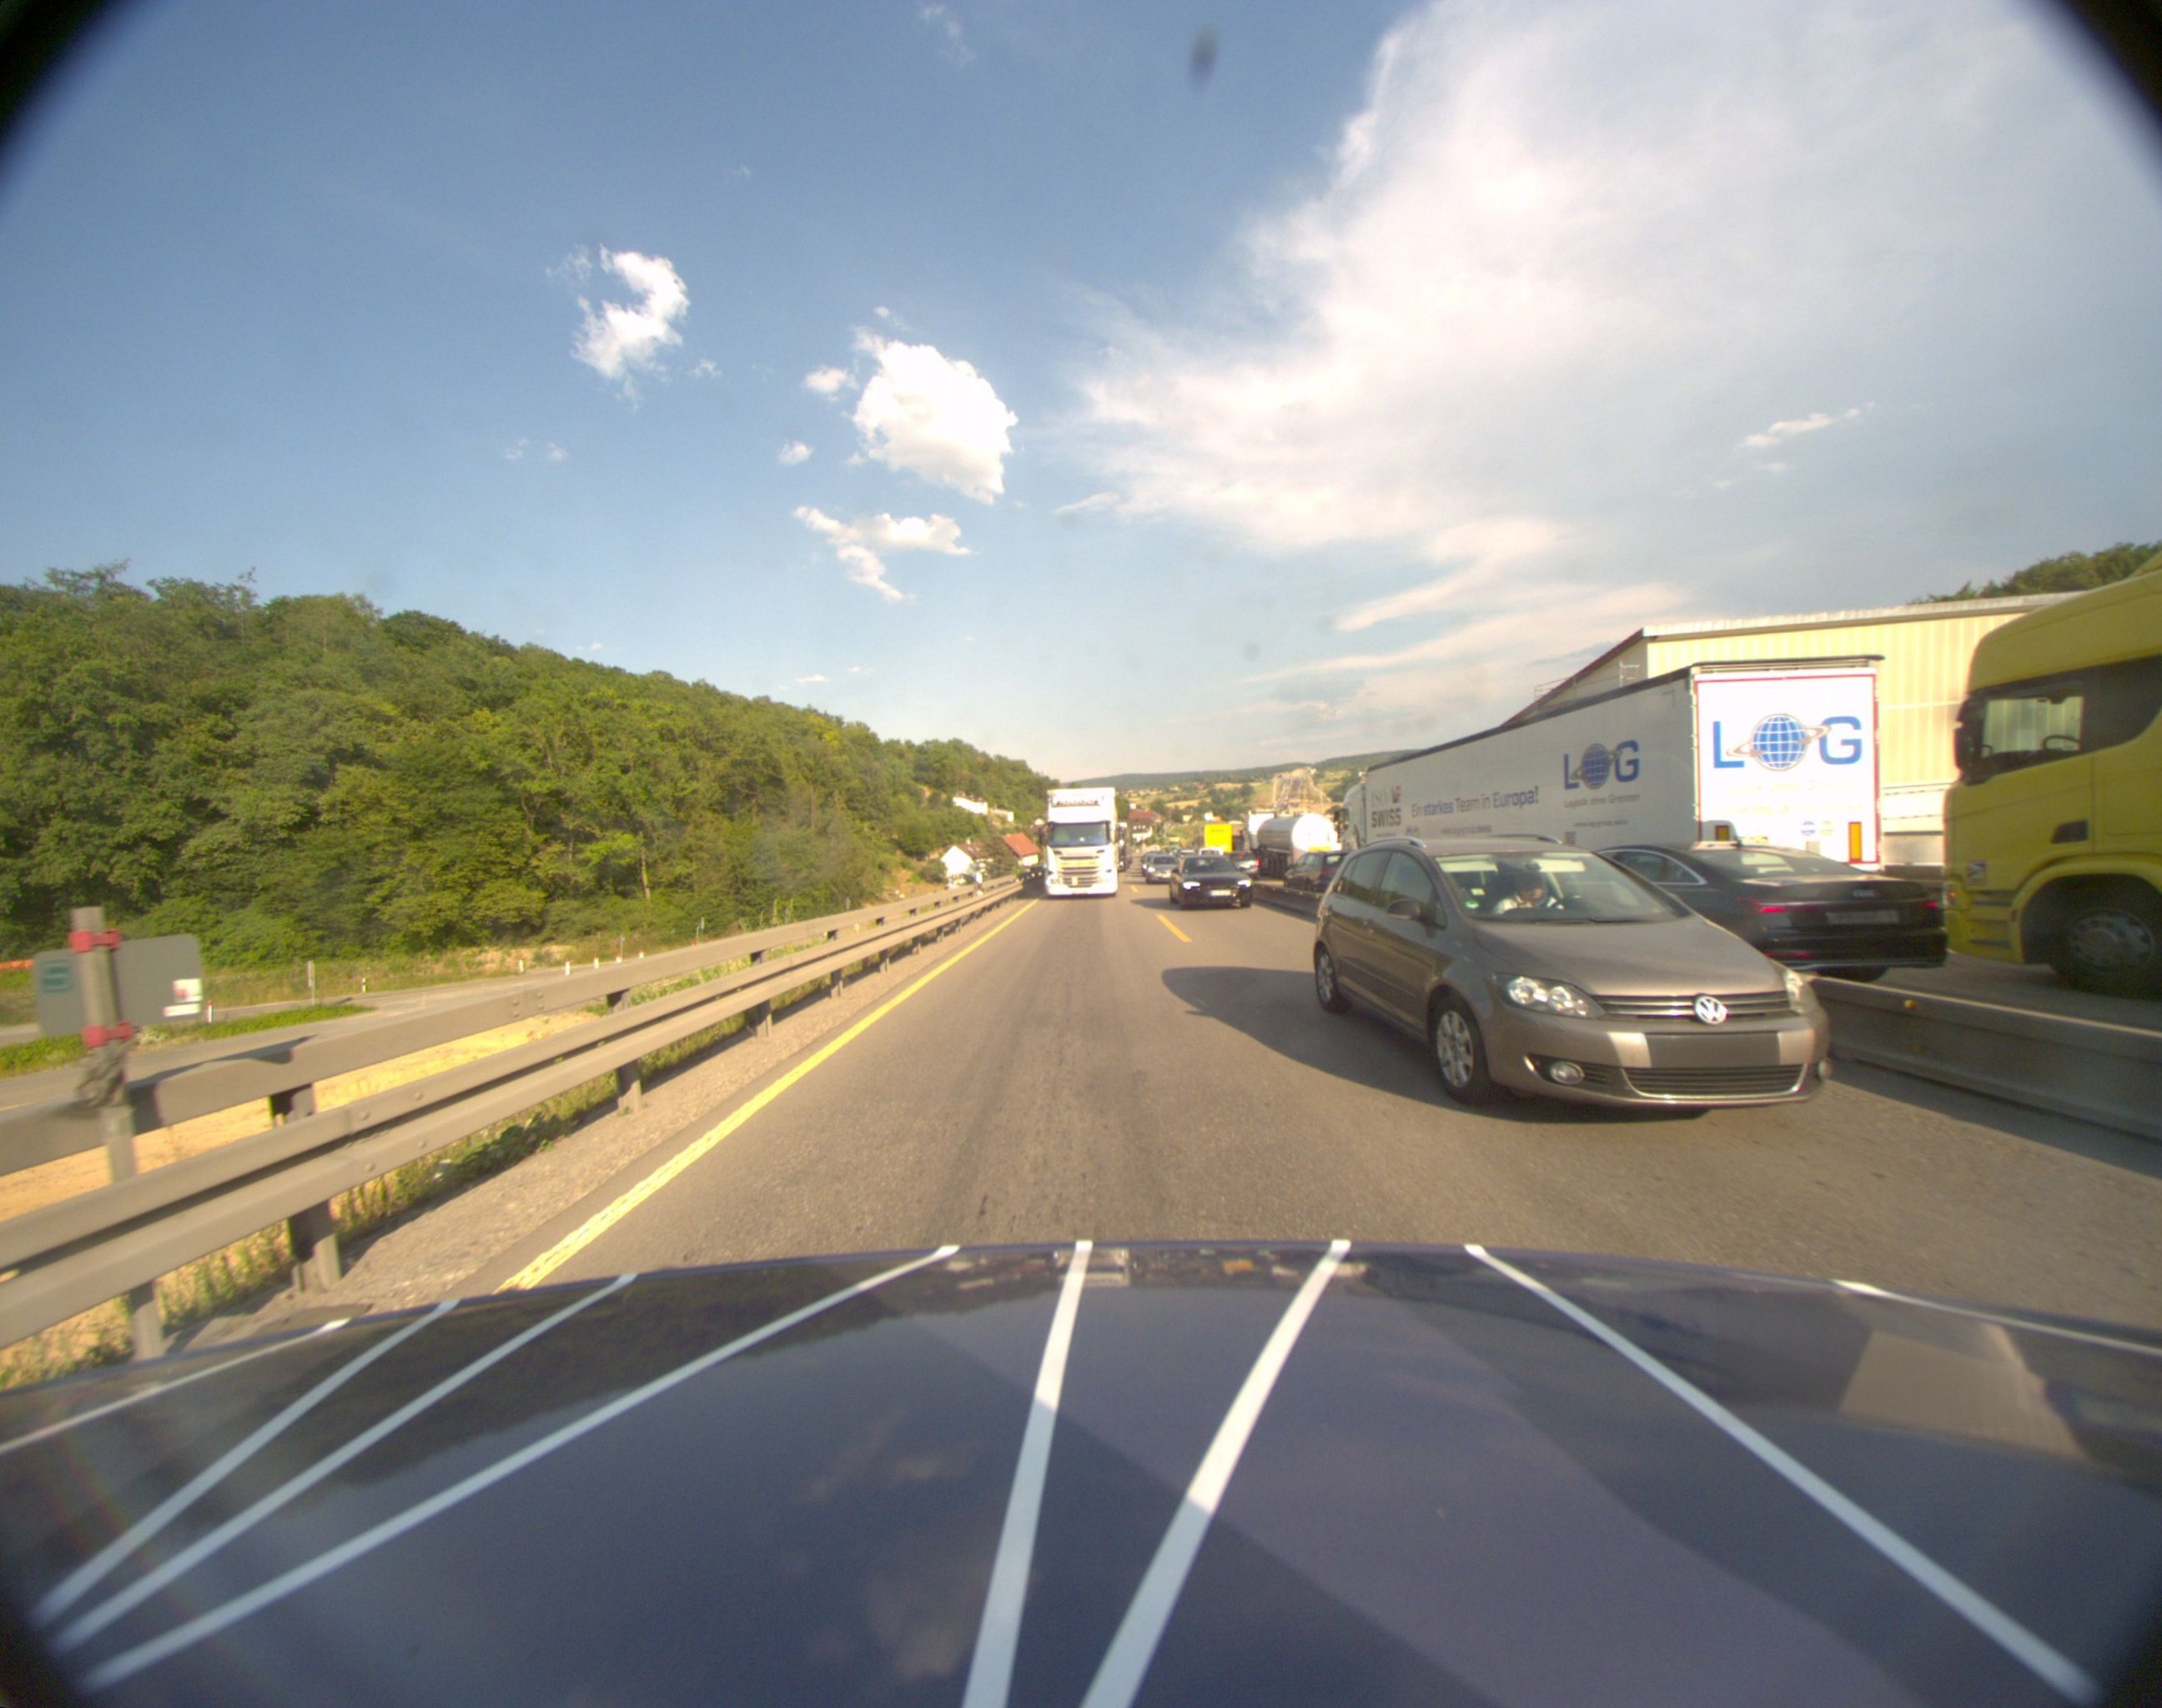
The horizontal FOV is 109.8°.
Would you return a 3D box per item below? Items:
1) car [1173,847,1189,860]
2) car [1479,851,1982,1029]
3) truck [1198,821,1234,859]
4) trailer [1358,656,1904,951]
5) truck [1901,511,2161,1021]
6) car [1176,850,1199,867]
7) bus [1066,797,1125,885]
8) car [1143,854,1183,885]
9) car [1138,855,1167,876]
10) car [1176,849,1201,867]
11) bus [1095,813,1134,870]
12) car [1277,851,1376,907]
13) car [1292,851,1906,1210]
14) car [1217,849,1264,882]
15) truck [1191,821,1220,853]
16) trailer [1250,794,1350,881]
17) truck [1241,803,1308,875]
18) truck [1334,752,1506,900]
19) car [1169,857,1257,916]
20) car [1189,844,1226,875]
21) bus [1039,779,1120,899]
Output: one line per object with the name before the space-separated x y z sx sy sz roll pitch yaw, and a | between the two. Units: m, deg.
car | 12.194 -0.066 92.896 1.758 1.521 4.001 -1 1 6
car | 6.742 0.725 8.789 1.812 1.417 4.673 -2 0 0
truck | 14.212 -1.446 80.541 2.899 3.689 9.490 -1 1 5
trailer | 10.203 -0.752 17.560 2.864 4.012 13.971 -2 0 2
truck | 9.983 -0.711 4.946 2.720 4.064 6.100 -1 1 0
car | 10.182 0.407 72.692 1.729 1.521 4.000 -2 1 2
bus | 1.025 -0.660 45.094 2.984 4.553 9.969 -2 0 3
car | 4.074 0.735 38.196 1.698 1.390 4.001 -3 0 3
car | 4.655 0.738 50.059 1.627 1.239 4.000 -2 1 2
car | 9.003 0.281 63.788 1.798 1.405 4.001 1 1 4
bus | 3.053 -0.980 66.873 2.984 4.553 10.906 -2 0 4
car | 7.215 0.663 22.768 1.660 1.421 4.565 -2 0 3
car | 2.929 0.805 5.512 1.688 1.564 4.099 -2 0 1
car | 7.934 0.549 38.148 1.661 1.501 3.690 -2 0 2
truck | 15.737 -2.163 96.672 2.899 3.861 9.490 -1 1 5
trailer | 11.080 -0.808 39.726 2.603 3.858 10.578 -2 1 3
truck | 11.345 -0.851 45.136 2.605 3.865 6.203 -2 1 3
truck | 10.424 -0.802 24.146 2.850 4.012 6.101 -2 1 2
car | 3.552 0.833 21.133 1.867 1.390 4.000 -1 1 2
car | 8.153 0.296 49.336 1.867 1.899 4.000 -1 1 2
bus | 0.237 -0.562 31.770 2.634 4.077 11.315 -1 1 3
